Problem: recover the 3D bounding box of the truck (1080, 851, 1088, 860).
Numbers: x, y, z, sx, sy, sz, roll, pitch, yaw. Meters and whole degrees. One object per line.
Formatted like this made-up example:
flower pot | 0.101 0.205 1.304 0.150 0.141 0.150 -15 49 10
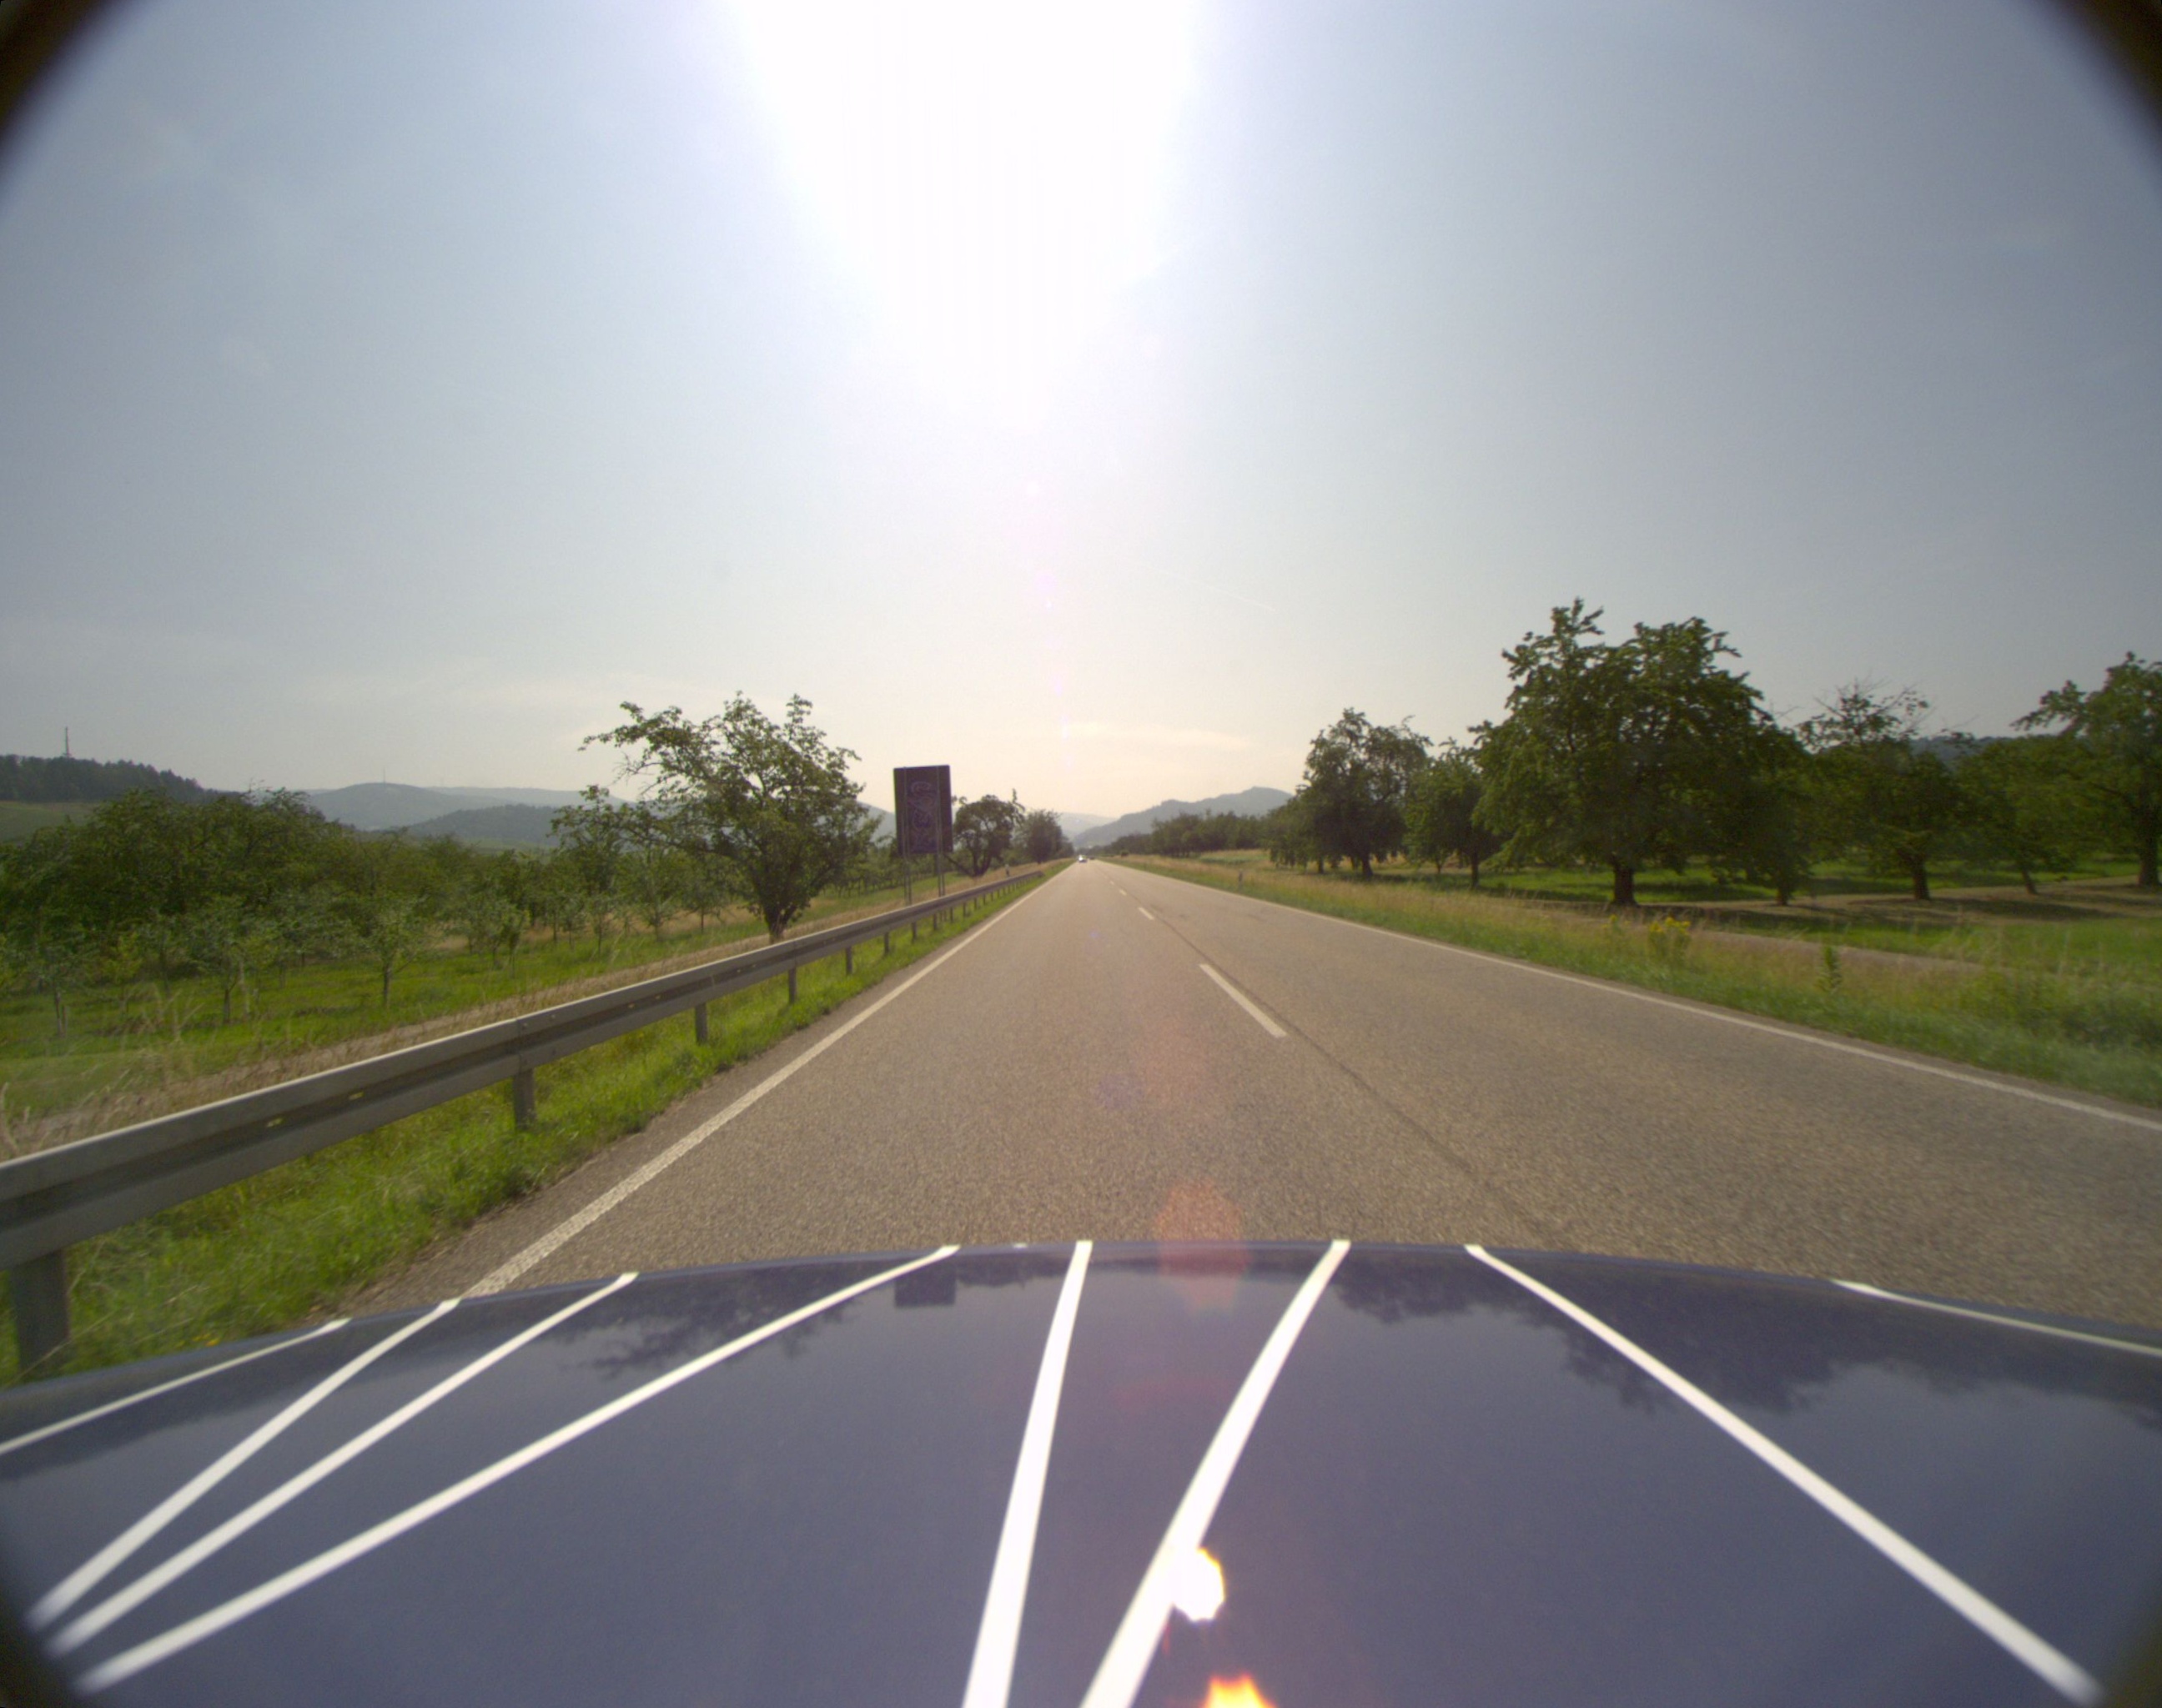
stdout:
truck | 0.786 0.322 197.989 2.031 2.233 4.765 -2 1 2
